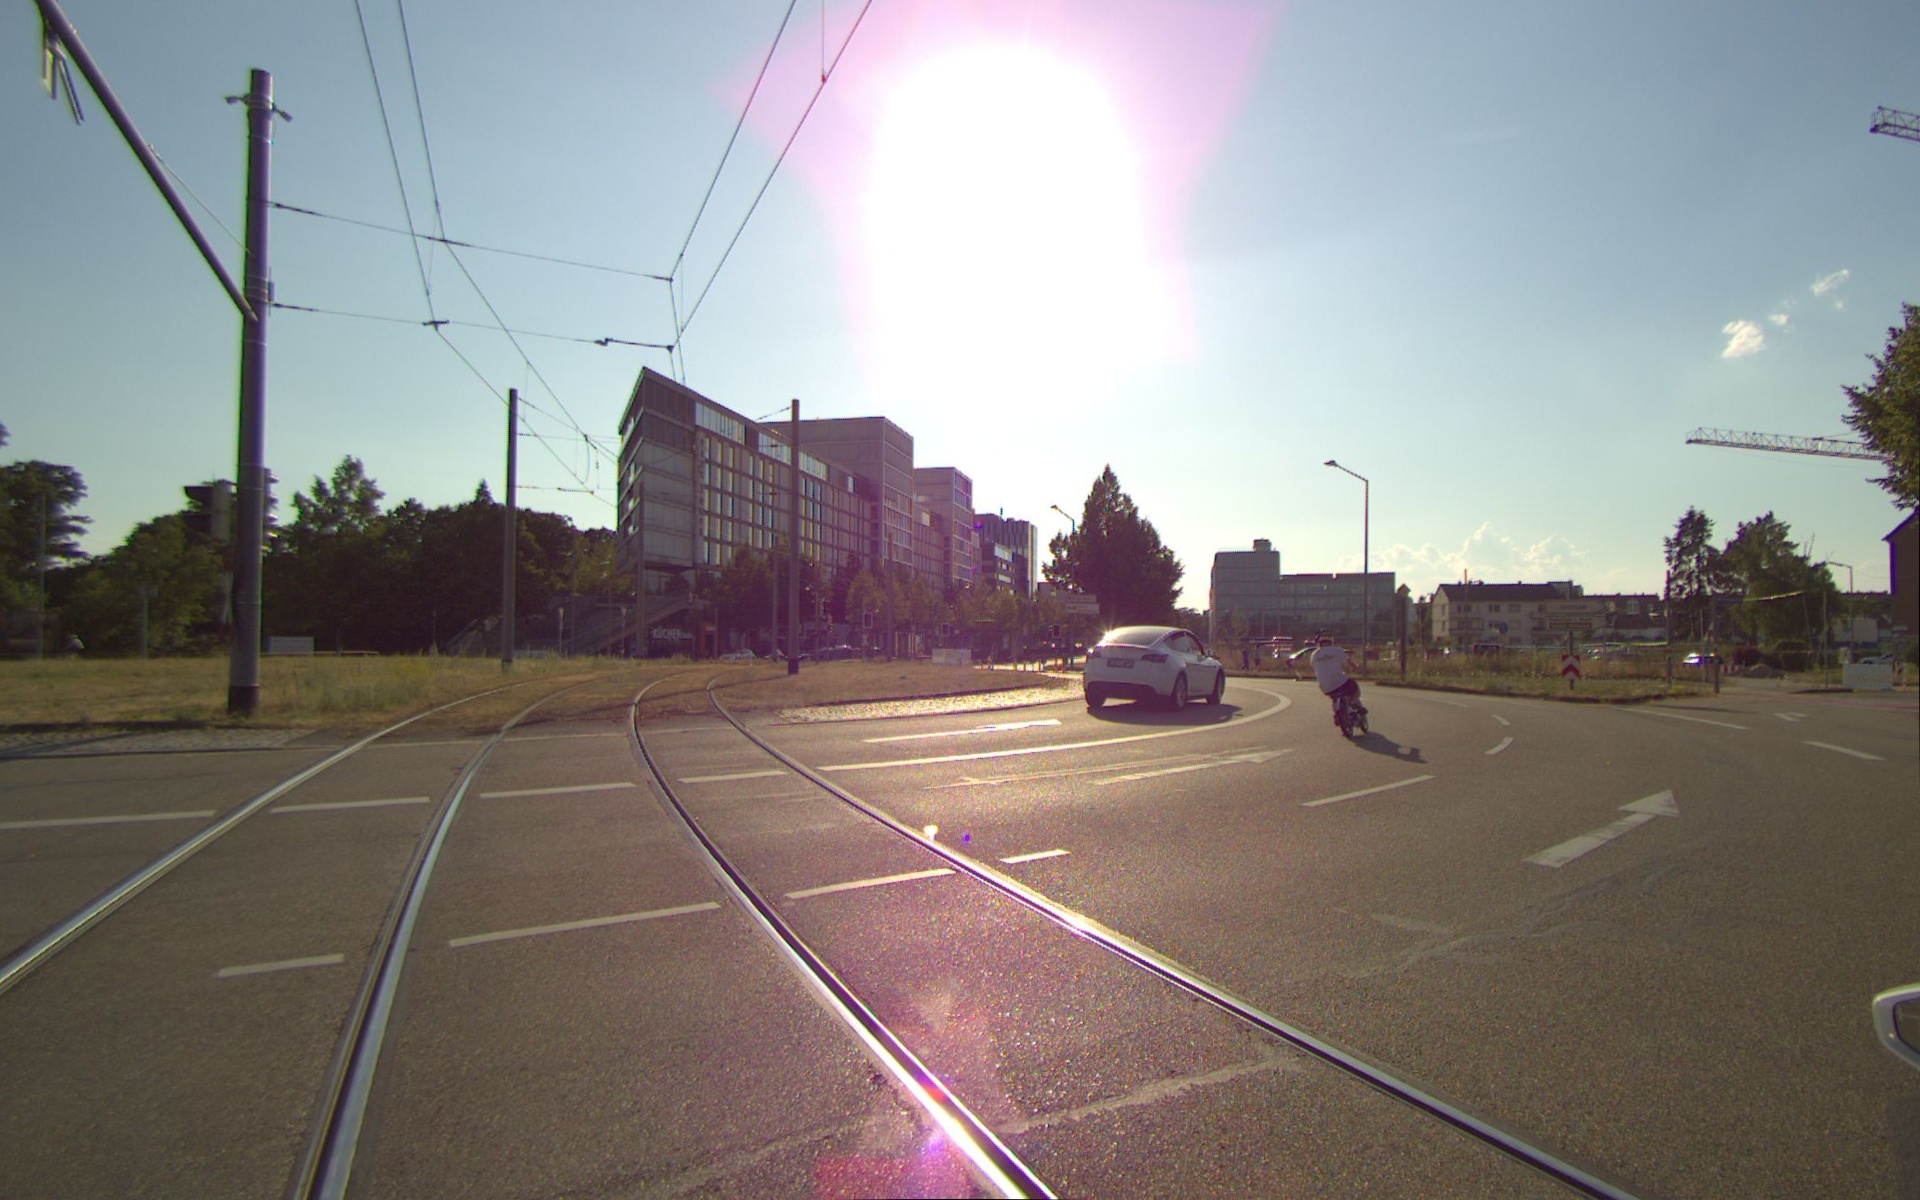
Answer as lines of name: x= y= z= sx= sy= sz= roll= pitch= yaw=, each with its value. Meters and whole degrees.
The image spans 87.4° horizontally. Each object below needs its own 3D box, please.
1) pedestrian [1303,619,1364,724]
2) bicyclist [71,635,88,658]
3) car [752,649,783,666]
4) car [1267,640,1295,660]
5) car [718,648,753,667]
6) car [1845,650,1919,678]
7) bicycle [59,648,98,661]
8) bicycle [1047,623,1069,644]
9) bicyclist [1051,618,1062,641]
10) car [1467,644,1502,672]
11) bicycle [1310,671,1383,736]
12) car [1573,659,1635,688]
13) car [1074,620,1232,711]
pedestrian: x=5.731 y=1.076 z=15.403 sx=0.648 sy=1.539 sz=0.851 roll=-1 pitch=-2 yaw=38
bicyclist: x=-53.467 y=2.812 z=60.971 sx=0.510 sy=1.343 sz=0.652 roll=-1 pitch=-2 yaw=36
car: x=-17.764 y=5.310 z=92.783 sx=1.455 sy=1.495 sz=3.301 roll=0 pitch=-2 yaw=16
car: x=34.043 y=5.314 z=106.584 sx=1.960 sy=2.040 sz=4.002 roll=0 pitch=-2 yaw=4
car: x=-19.079 y=4.882 z=85.465 sx=1.455 sy=1.495 sz=3.302 roll=0 pitch=-2 yaw=16
car: x=68.984 y=4.768 z=75.226 sx=1.642 sy=2.040 sz=3.814 roll=1 pitch=-2 yaw=-11
bicycle: x=-53.458 y=3.290 z=60.940 sx=0.472 sy=0.754 sz=1.716 roll=-1 pitch=-2 yaw=34
bicycle: x=7.025 y=2.392 z=71.998 sx=1.521 sy=1.493 sz=0.477 roll=-1 pitch=-2 yaw=40
bicyclist: x=6.953 y=2.119 z=72.058 sx=0.599 sy=1.694 sz=0.476 roll=-1 pitch=-2 yaw=40
car: x=35.967 y=3.943 z=68.836 sx=1.892 sy=1.878 sz=3.991 roll=-1 pitch=-2 yaw=31
bicycle: x=5.980 y=1.569 z=15.496 sx=0.472 sy=0.887 sz=1.847 roll=0 pitch=-2 yaw=40
car: x=47.228 y=5.368 z=73.738 sx=1.642 sy=2.040 sz=3.814 roll=1 pitch=-2 yaw=-11
car: x=4.118 y=1.246 z=20.749 sx=1.710 sy=1.620 sz=4.667 roll=1 pitch=-1 yaw=31
